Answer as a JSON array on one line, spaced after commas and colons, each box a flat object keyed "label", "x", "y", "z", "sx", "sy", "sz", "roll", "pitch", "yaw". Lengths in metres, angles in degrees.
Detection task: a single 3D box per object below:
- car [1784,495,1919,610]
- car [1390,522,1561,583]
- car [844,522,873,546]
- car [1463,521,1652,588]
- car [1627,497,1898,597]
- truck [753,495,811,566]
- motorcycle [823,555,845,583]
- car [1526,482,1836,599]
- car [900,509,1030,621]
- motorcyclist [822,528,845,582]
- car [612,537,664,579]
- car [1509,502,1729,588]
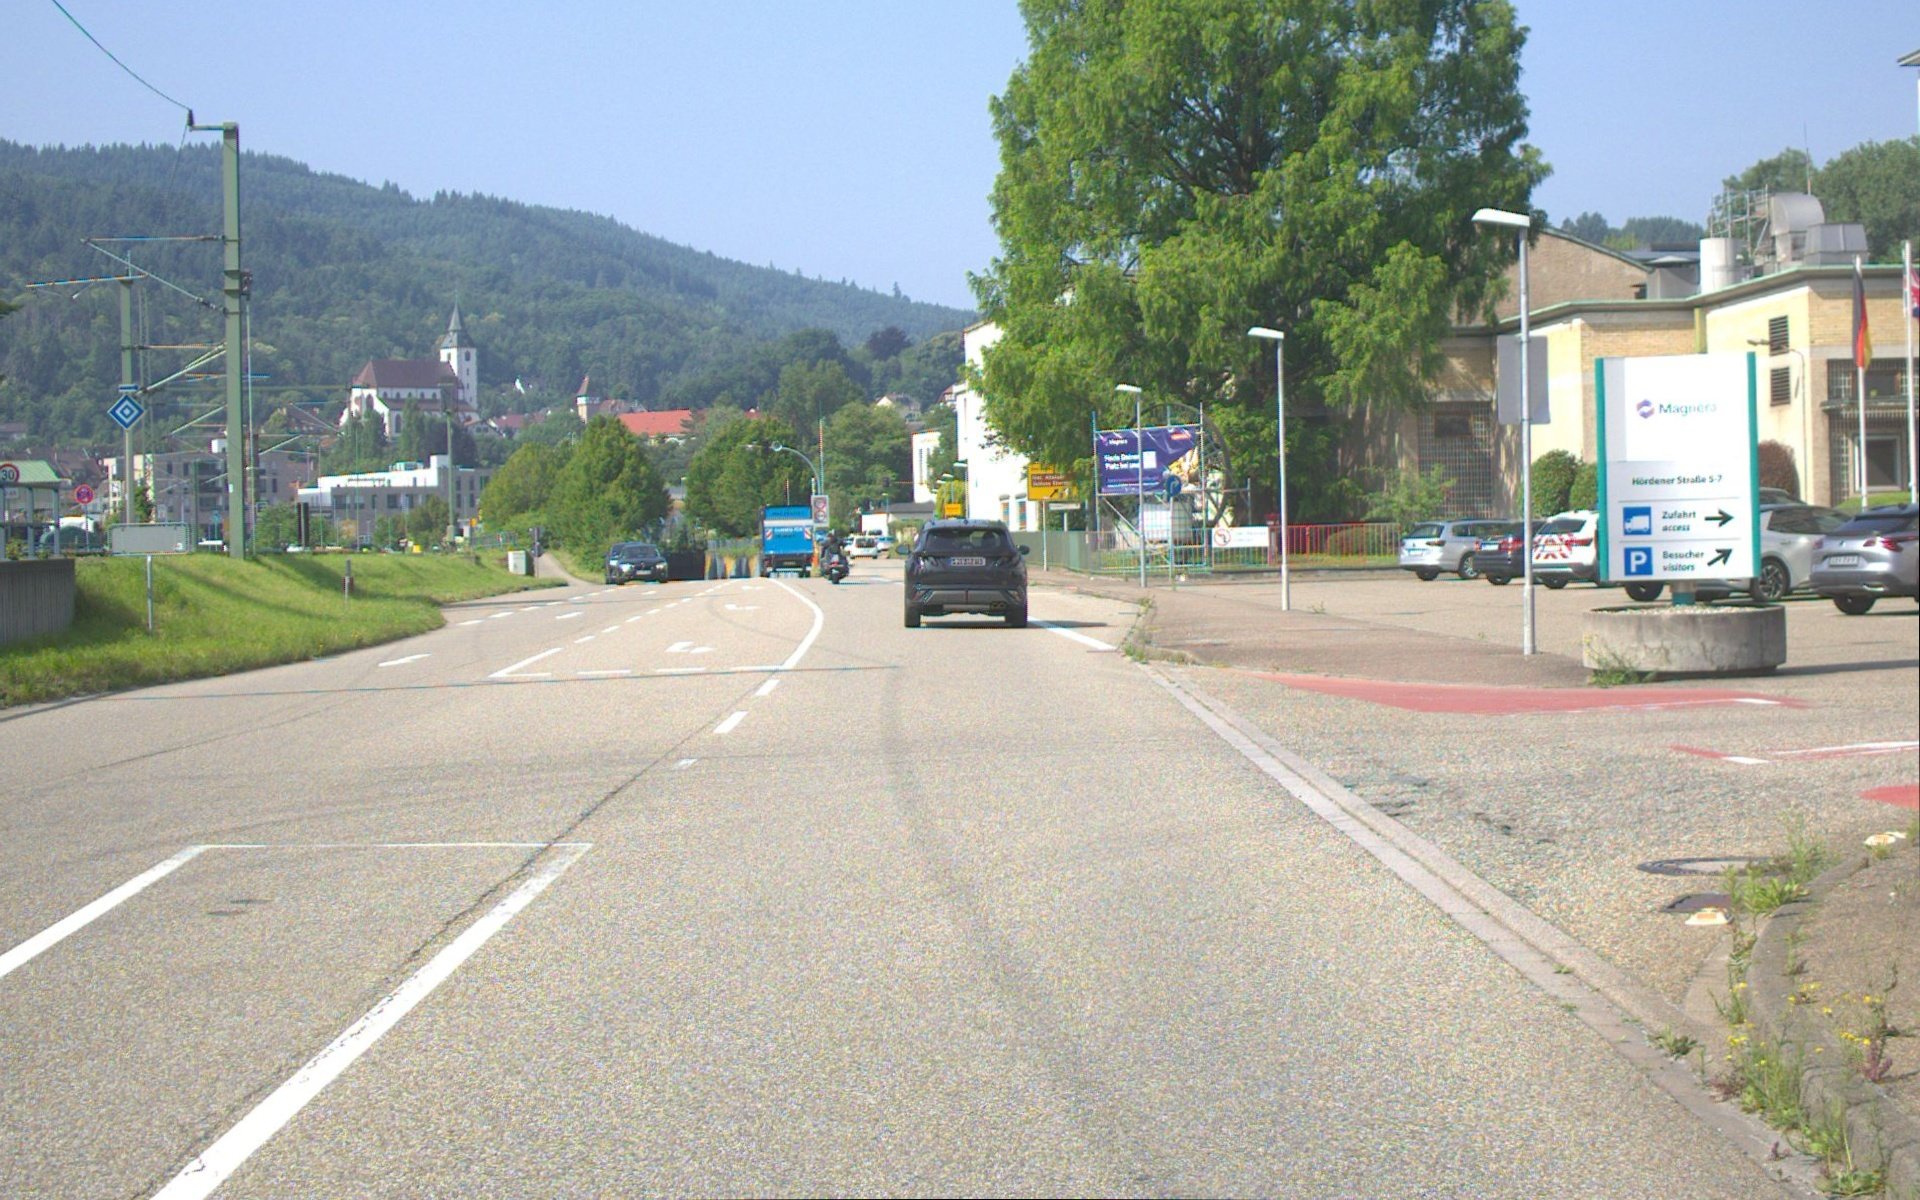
[{"label": "car", "x": 13.496, "y": -0.681, "z": 46.750, "sx": 4.297, "sy": 1.499, "sz": 1.886, "roll": -2, "pitch": 1, "yaw": -30}, {"label": "car", "x": 12.564, "y": -1.163, "z": 83.717, "sx": 3.987, "sy": 1.396, "sz": 1.664, "roll": -2, "pitch": 1, "yaw": -32}, {"label": "car", "x": -6.491, "y": -4.217, "z": 221.116, "sx": 1.767, "sy": 1.481, "sz": 4.000, "roll": 0, "pitch": 0, "yaw": 0}, {"label": "car", "x": 13.155, "y": -1.017, "z": 75.643, "sx": 3.987, "sy": 1.396, "sz": 1.664, "roll": -2, "pitch": 1, "yaw": -32}, {"label": "car", "x": 12.875, "y": -0.860, "z": 55.125, "sx": 3.987, "sy": 1.499, "sz": 1.886, "roll": -2, "pitch": 1, "yaw": -30}, {"label": "truck", "x": -7.704, "y": -3.008, "z": 148.432, "sx": 2.312, "sy": 2.960, "sz": 5.967, "roll": -1, "pitch": 1, "yaw": -4}, {"label": "motorcycle", "x": -3.543, "y": -0.879, "z": 97.012, "sx": 0.606, "sy": 0.751, "sz": 1.415, "roll": -1, "pitch": 1, "yaw": -2}, {"label": "car", "x": 12.120, "y": -1.004, "z": 57.724, "sx": 5.020, "sy": 1.826, "sz": 1.983, "roll": -2, "pitch": 1, "yaw": -30}, {"label": "car", "x": 0.076, "y": -0.554, "z": 53.210, "sx": 1.919, "sy": 1.634, "sz": 4.000, "roll": -1, "pitch": 1, "yaw": 0}, {"label": "motorcyclist", "x": -3.574, "y": -1.280, "z": 97.010, "sx": 0.606, "sy": 1.515, "sz": 0.863, "roll": -1, "pitch": 1, "yaw": -2}, {"label": "car", "x": -11.411, "y": -1.510, "z": 122.014, "sx": 1.755, "sy": 1.424, "sz": 4.001, "roll": -1, "pitch": 1, "yaw": -4}, {"label": "car", "x": 13.383, "y": -1.127, "z": 69.756, "sx": 4.160, "sy": 1.666, "sz": 1.870, "roll": -2, "pitch": 1, "yaw": -30}]
